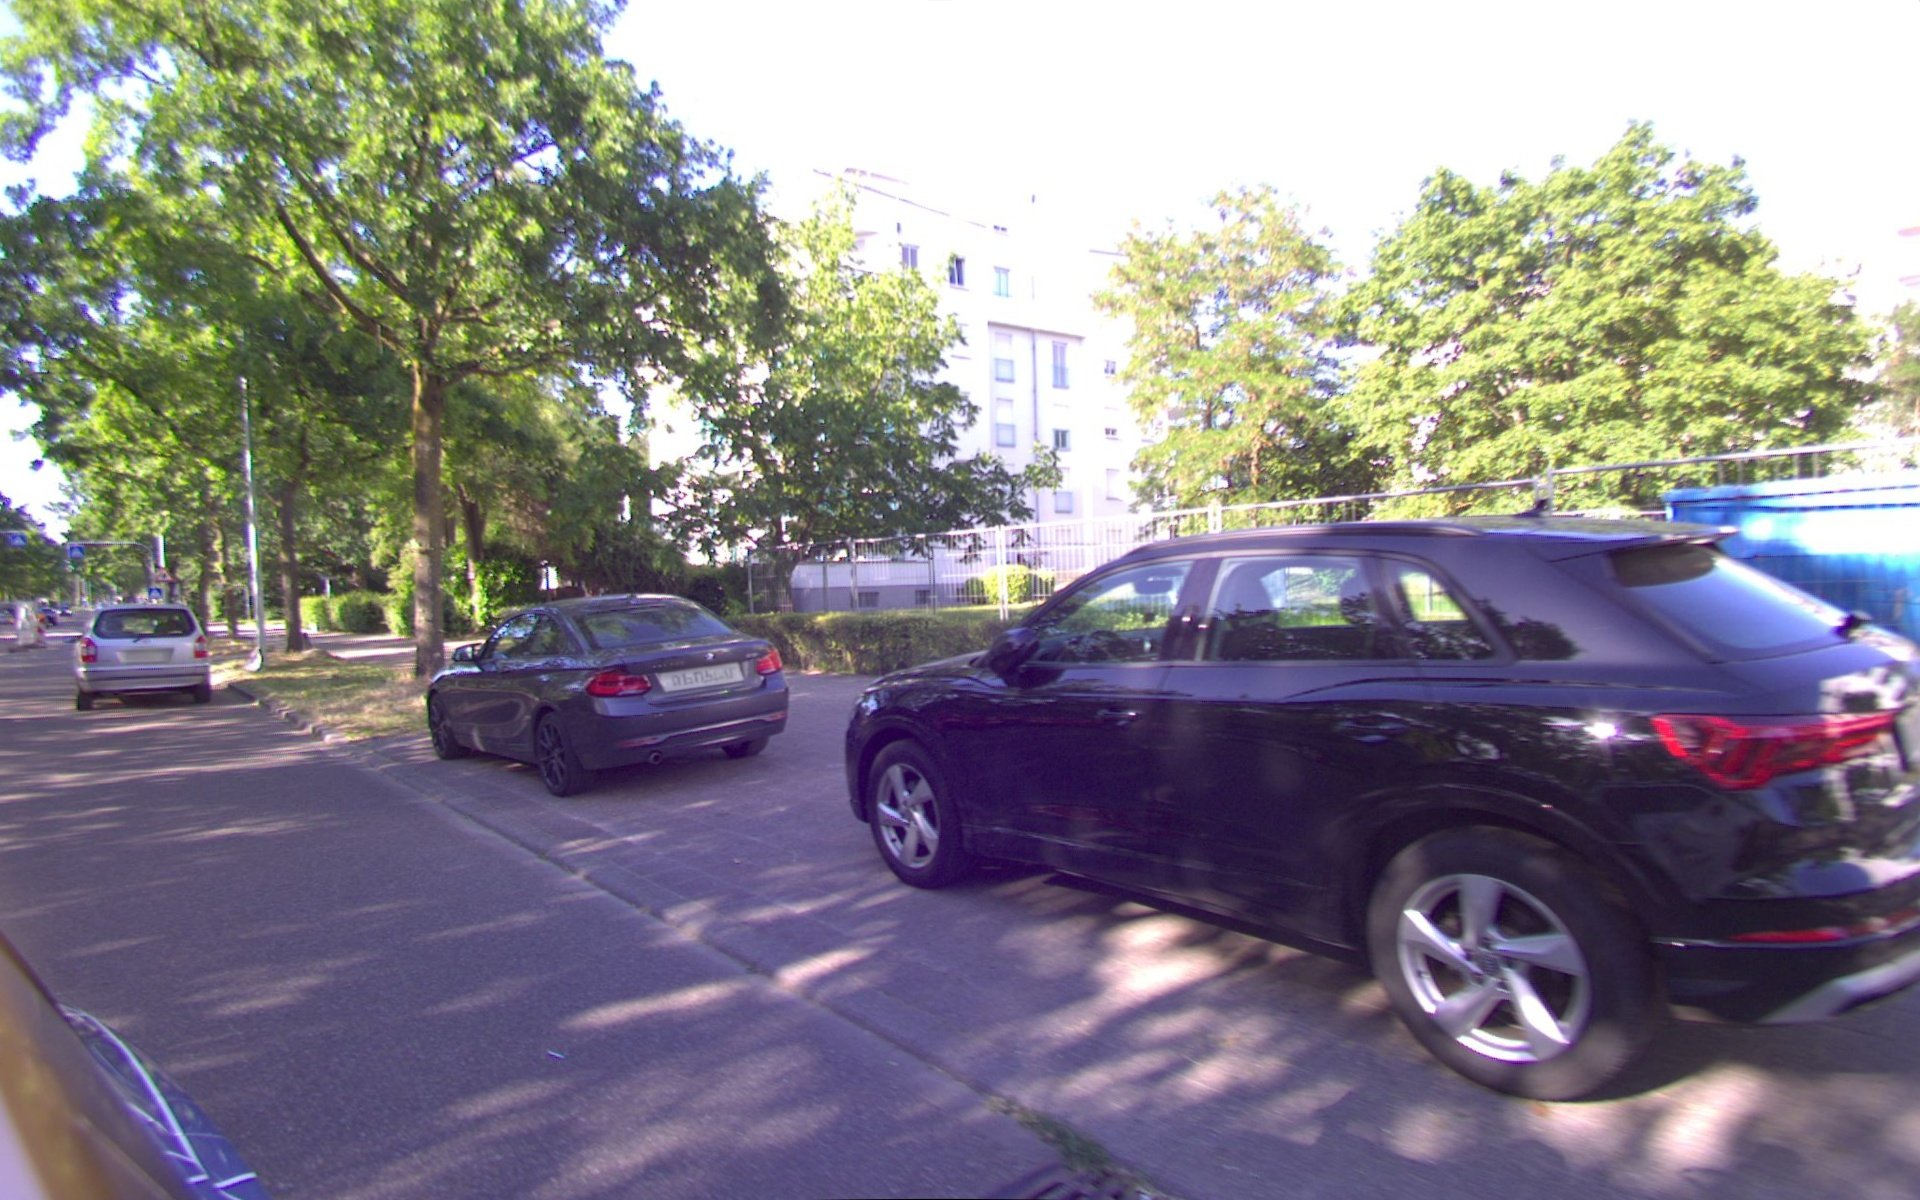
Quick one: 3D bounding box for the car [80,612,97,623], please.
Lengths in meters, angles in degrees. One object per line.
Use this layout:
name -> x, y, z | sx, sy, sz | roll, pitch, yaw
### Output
car -> -153.397, 3.092, 178.075 | 1.968, 1.829, 4.008 | -3, 2, -38

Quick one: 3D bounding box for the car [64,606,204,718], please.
car -> -13.757, 0.926, 16.781 | 1.639, 1.608, 4.014 | -1, 0, -42

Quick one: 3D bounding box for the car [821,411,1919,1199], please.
car -> 1.355, 0.408, 4.038 | 1.753, 1.633, 4.228 | -5, 3, -39

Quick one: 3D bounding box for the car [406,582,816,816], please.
car -> -3.185, 0.672, 8.709 | 1.696, 1.443, 4.141 | -5, 3, -44

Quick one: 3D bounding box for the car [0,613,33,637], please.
car -> -77.495, 2.015, 82.991 | 1.968, 1.896, 4.007 | 0, 0, -39
